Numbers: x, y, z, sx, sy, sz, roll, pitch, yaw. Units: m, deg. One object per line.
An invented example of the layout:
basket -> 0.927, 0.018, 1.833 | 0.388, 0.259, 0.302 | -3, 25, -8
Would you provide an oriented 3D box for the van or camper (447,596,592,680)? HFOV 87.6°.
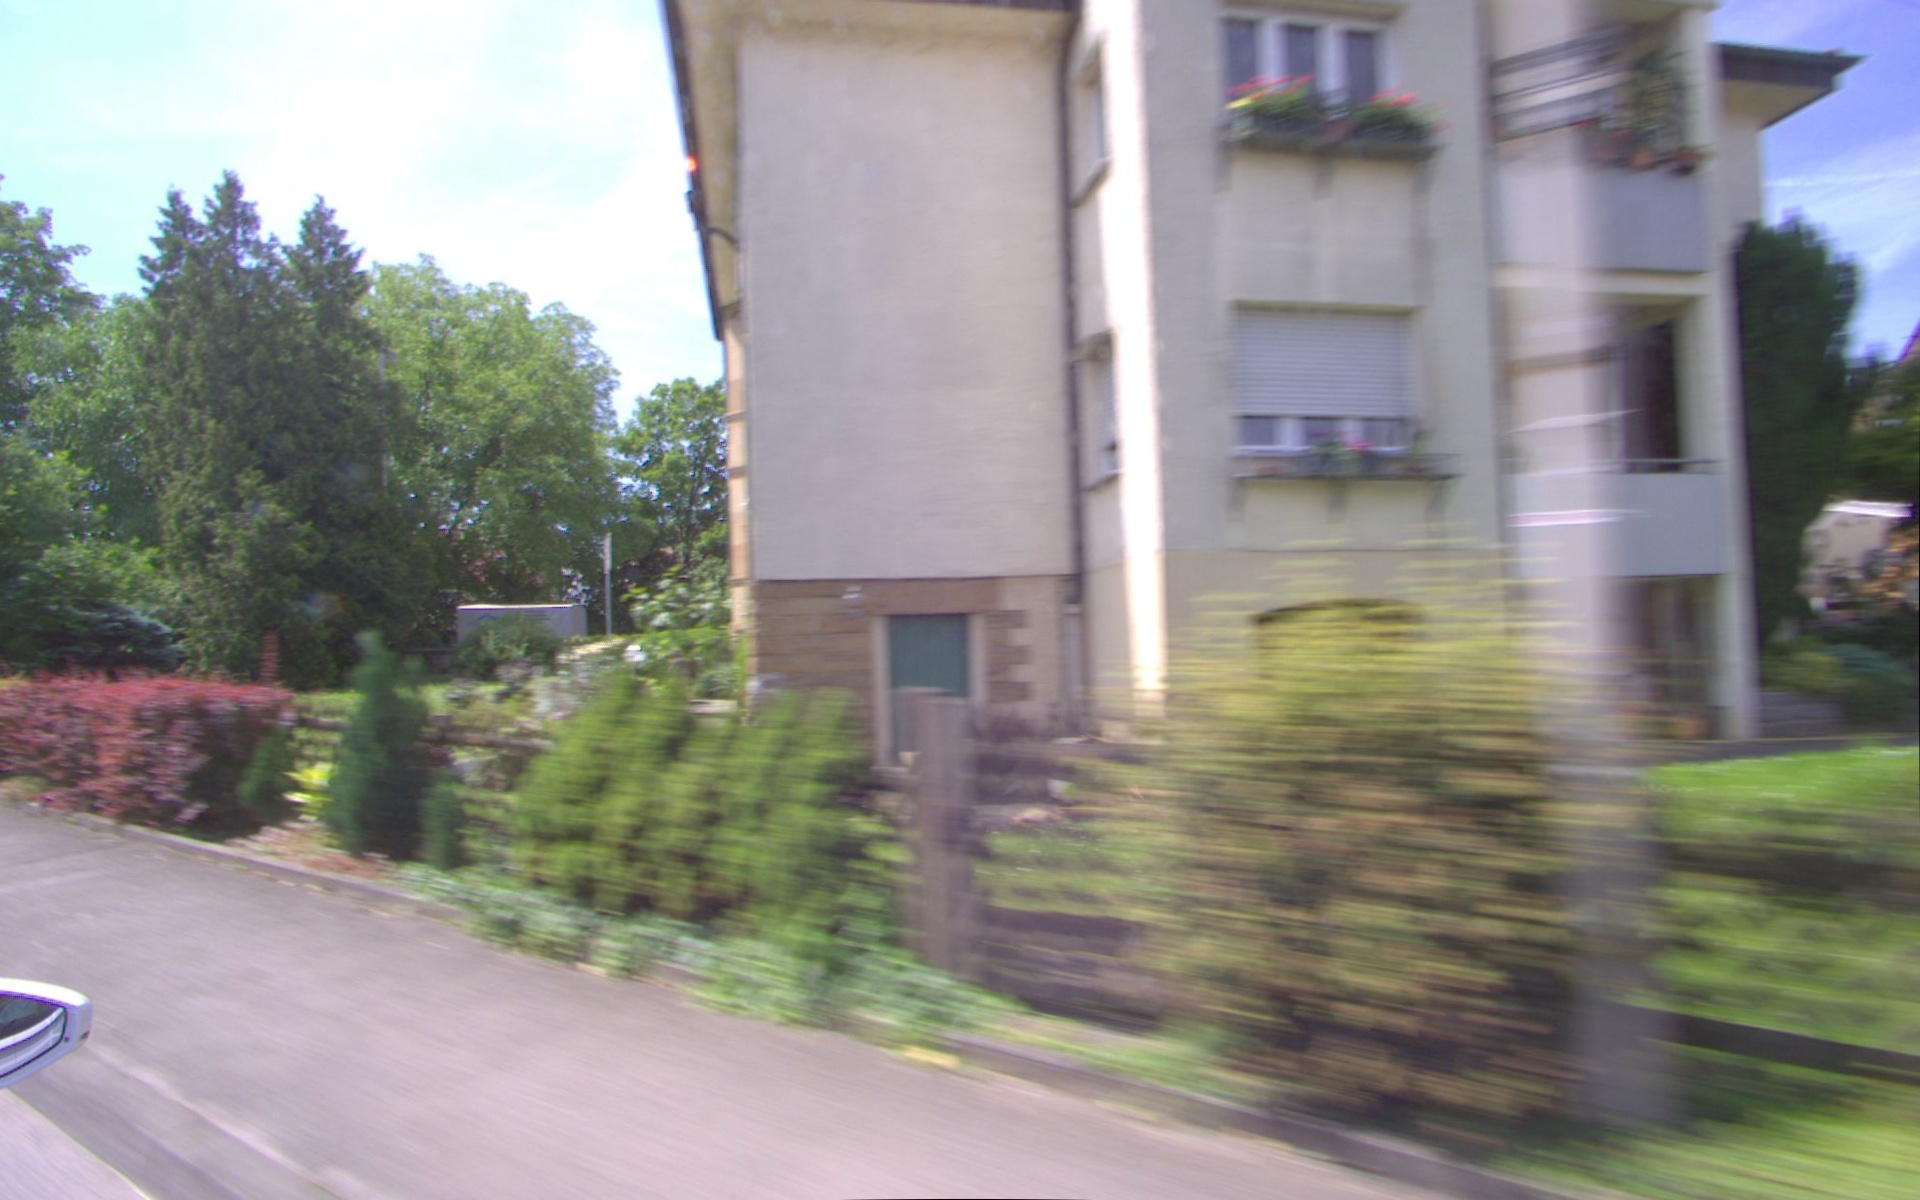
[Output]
van or camper -> -12.251, 1.084, 28.029 | 3.323, 2.165, 1.821 | -1, -4, -8
